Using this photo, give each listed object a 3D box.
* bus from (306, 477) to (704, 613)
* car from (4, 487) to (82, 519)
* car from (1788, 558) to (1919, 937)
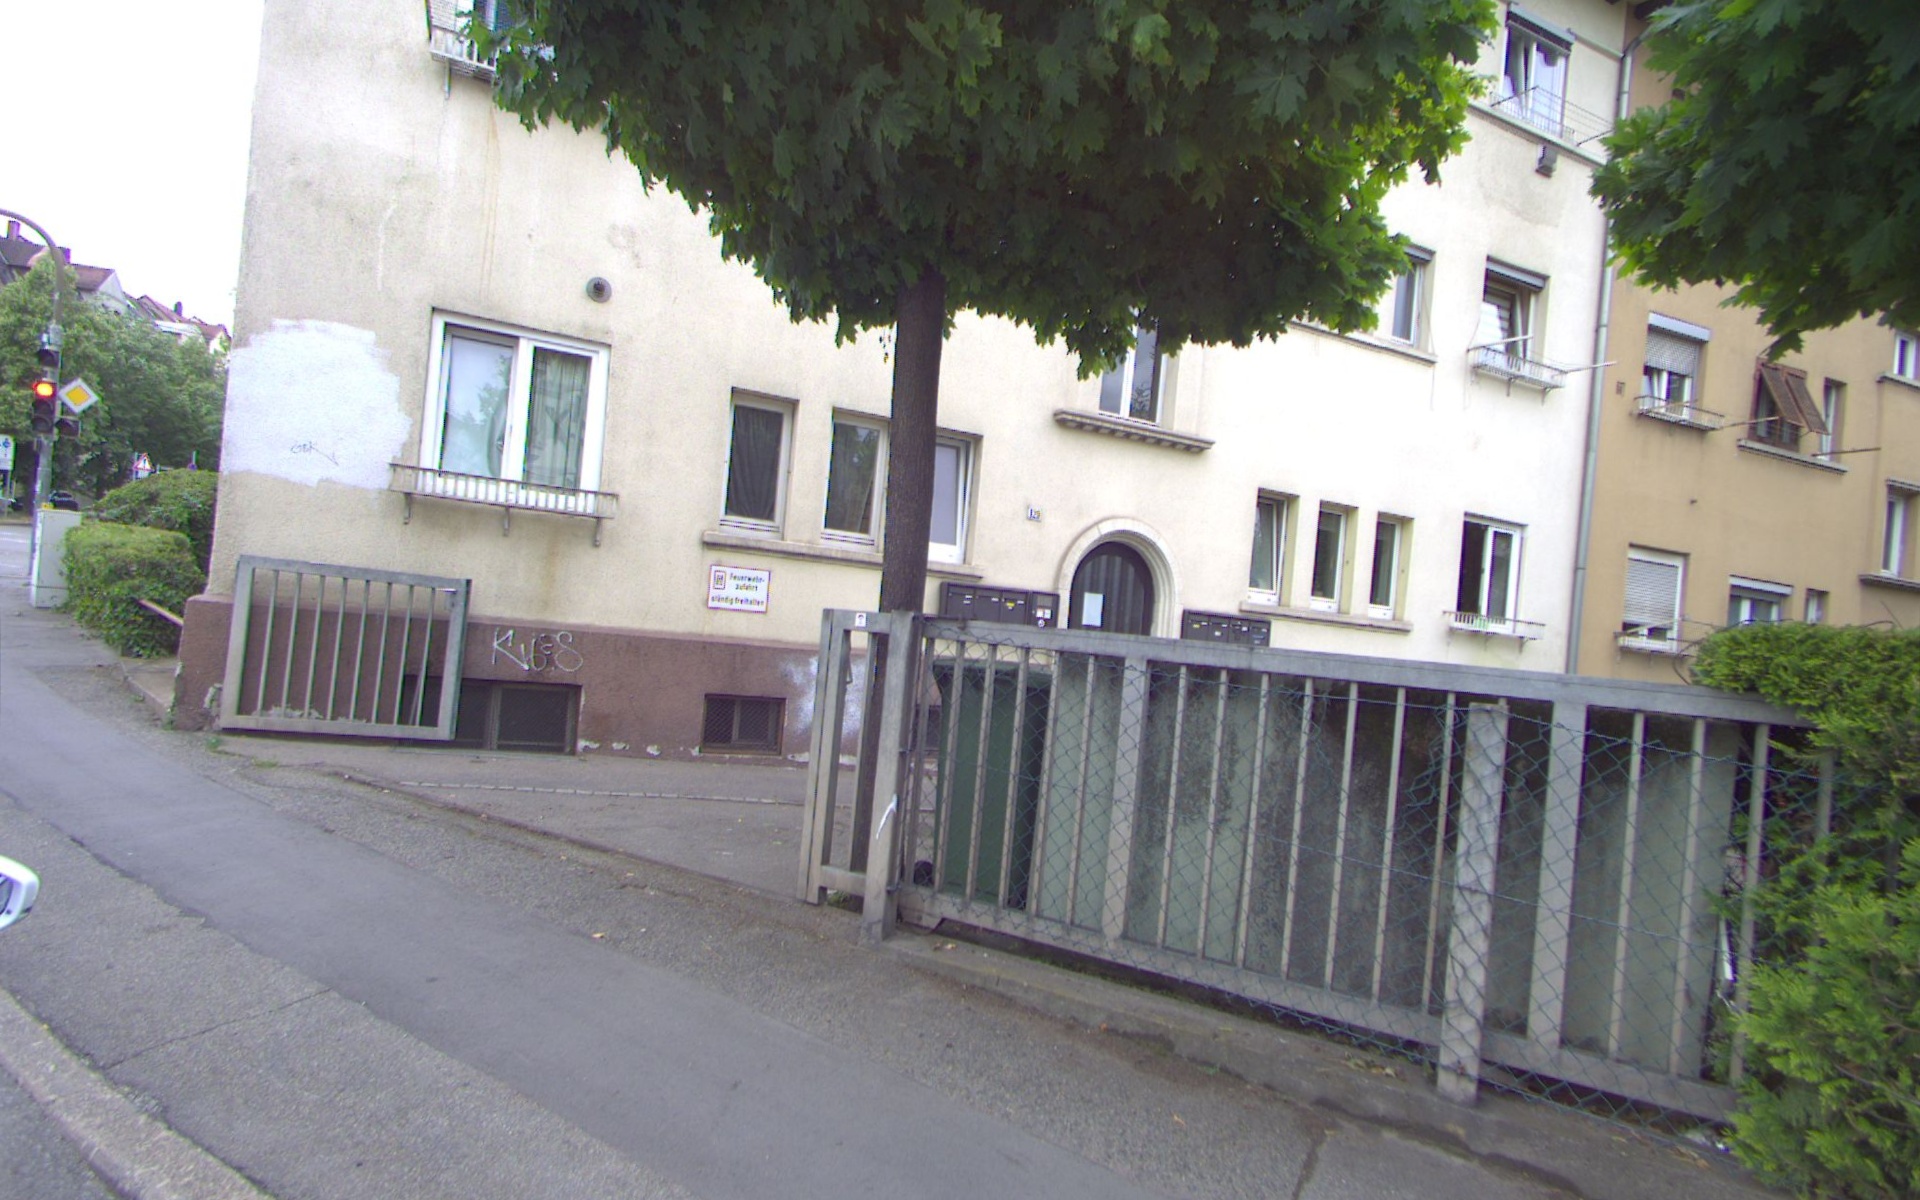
[{"bbox_3d":[-15.319,-1.789,34.823,11.935,3.135,3.164,6,0,-6],"label":"bus"},{"bbox_3d":[-61.531,-6.505,67.608,1.848,1.432,4.684,8,-2,-17],"label":"car"},{"bbox_3d":[5.549,0.789,3.782,3.381,1.477,1.700,6,-2,30],"label":"car"}]
